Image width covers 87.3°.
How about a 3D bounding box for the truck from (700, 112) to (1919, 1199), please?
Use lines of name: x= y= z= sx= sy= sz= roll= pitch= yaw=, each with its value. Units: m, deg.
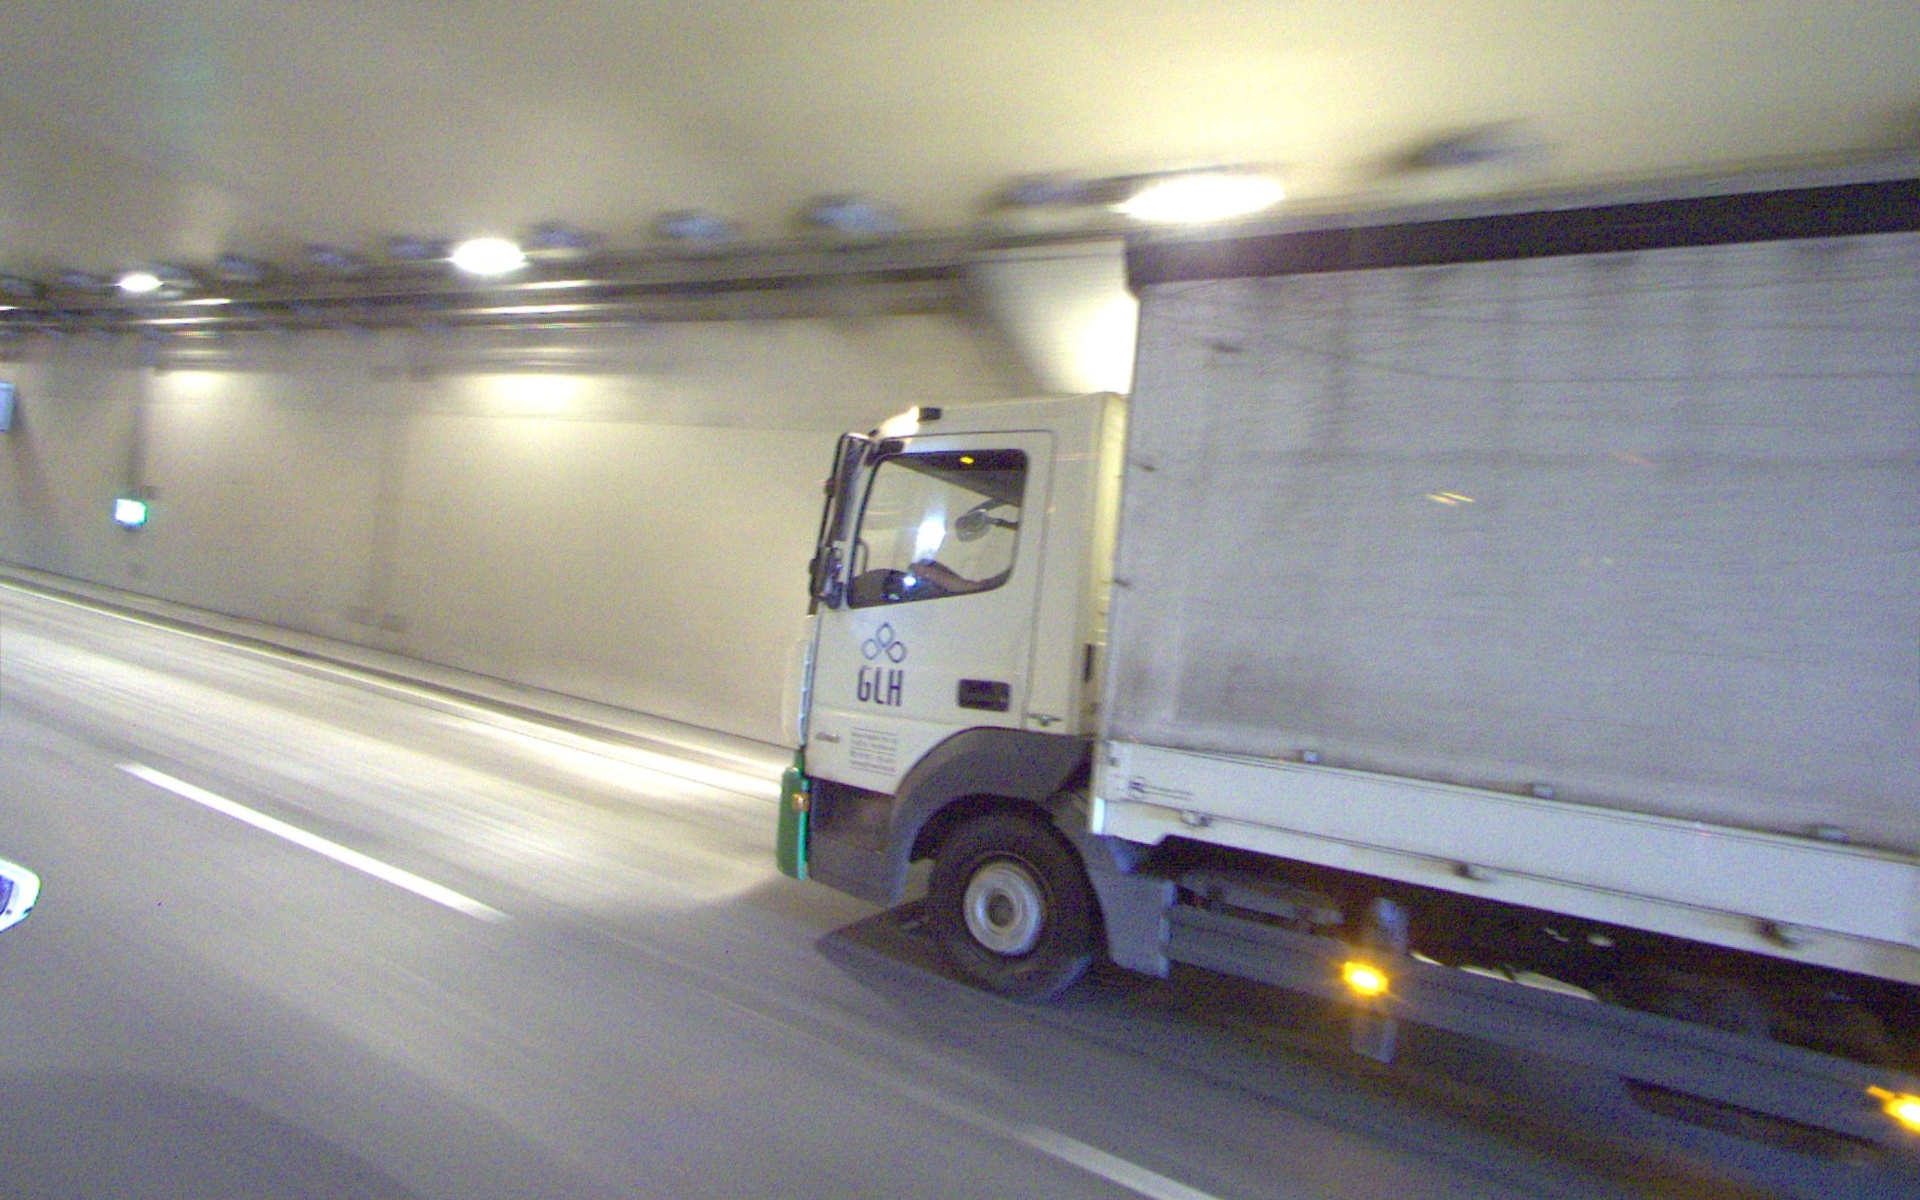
truck: x=2.724 y=0.347 z=4.012 sx=7.119 sy=3.219 sz=2.560 roll=7 pitch=-1 yaw=28
